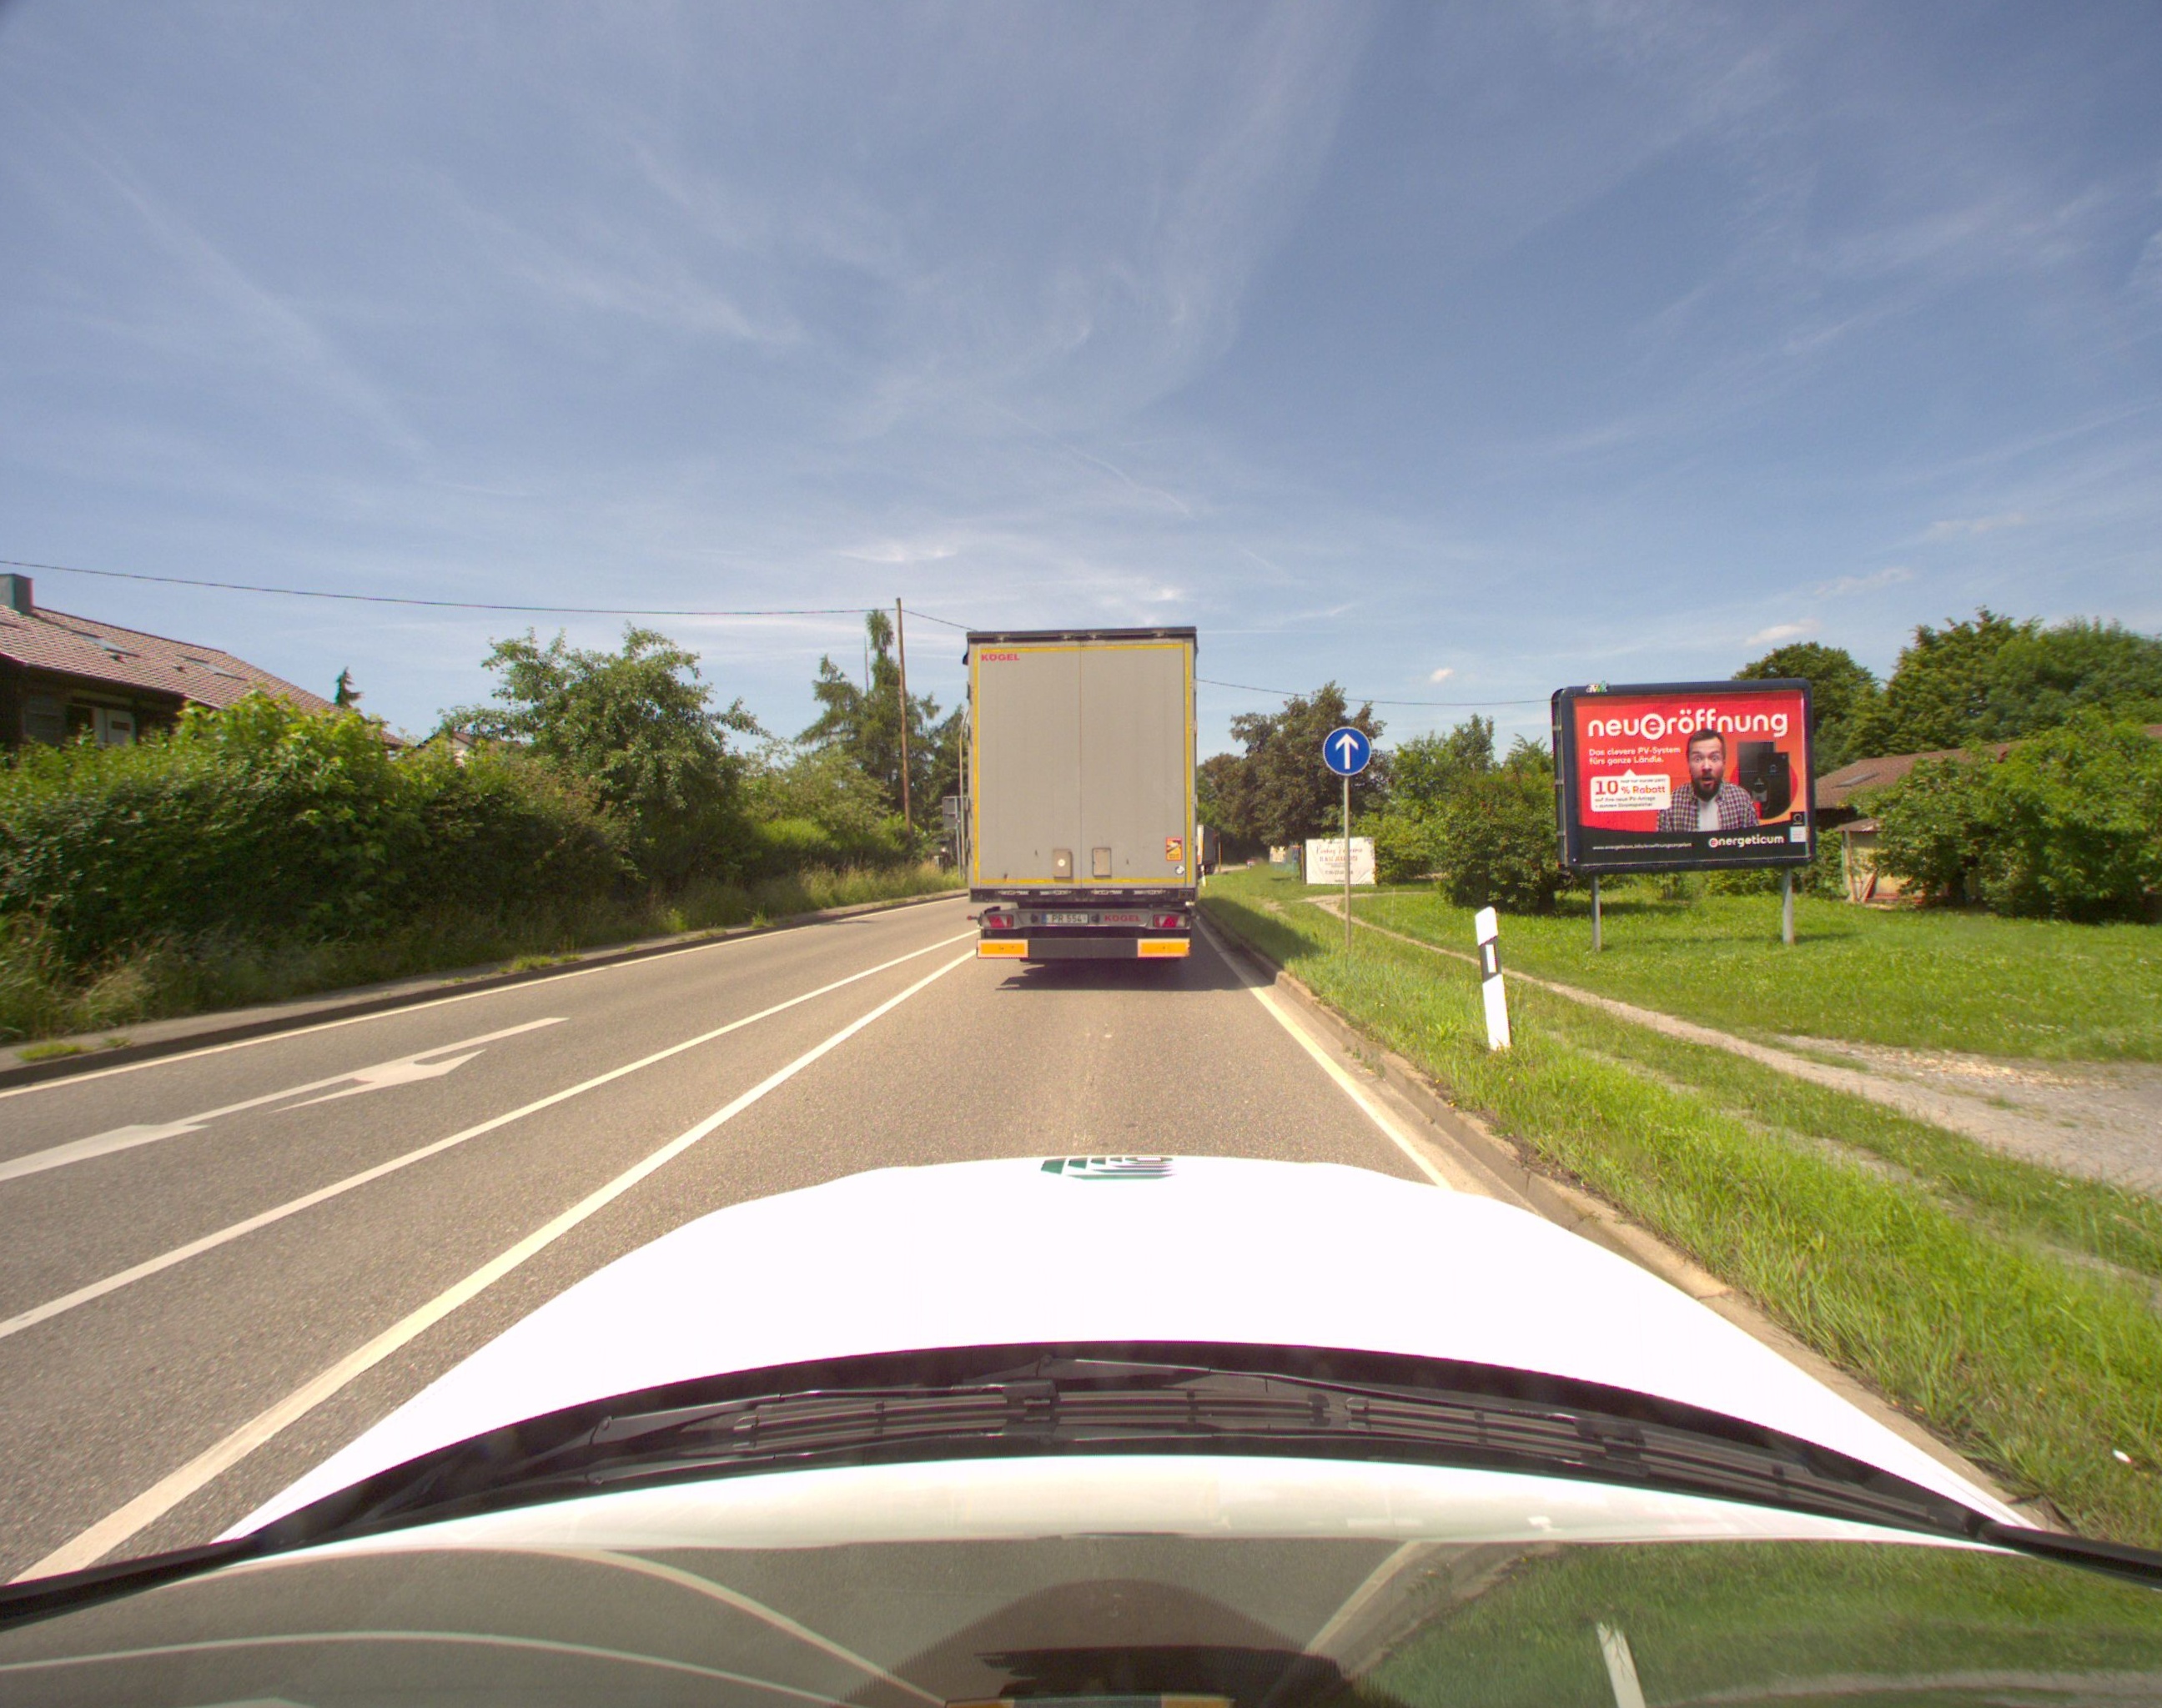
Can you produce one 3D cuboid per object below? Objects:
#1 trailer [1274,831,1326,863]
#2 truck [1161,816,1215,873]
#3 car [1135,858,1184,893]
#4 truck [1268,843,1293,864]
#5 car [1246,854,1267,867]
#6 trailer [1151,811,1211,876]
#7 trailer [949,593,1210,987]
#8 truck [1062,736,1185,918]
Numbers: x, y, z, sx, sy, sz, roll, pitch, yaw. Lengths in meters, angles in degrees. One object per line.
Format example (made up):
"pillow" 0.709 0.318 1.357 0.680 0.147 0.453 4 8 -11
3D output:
"trailer" 35.054 -1.117 129.553 5.132 4.628 15.988 -1 0 25
"truck" 9.336 -0.792 70.322 3.911 4.574 7.175 -1 0 12
"car" 3.701 0.953 37.699 1.982 1.530 4.010 0 0 9
"truck" 27.944 -0.106 113.767 2.399 2.838 5.443 -1 0 24
"car" 22.114 0.802 102.604 1.825 1.486 4.023 -1 0 24
"trailer" 8.087 -0.778 63.868 3.867 4.520 12.750 -1 0 10
"trailer" 0.586 -0.710 14.862 2.773 4.205 12.131 -1 0 6
"truck" 1.357 -0.638 21.835 2.731 4.165 6.156 -1 0 8
